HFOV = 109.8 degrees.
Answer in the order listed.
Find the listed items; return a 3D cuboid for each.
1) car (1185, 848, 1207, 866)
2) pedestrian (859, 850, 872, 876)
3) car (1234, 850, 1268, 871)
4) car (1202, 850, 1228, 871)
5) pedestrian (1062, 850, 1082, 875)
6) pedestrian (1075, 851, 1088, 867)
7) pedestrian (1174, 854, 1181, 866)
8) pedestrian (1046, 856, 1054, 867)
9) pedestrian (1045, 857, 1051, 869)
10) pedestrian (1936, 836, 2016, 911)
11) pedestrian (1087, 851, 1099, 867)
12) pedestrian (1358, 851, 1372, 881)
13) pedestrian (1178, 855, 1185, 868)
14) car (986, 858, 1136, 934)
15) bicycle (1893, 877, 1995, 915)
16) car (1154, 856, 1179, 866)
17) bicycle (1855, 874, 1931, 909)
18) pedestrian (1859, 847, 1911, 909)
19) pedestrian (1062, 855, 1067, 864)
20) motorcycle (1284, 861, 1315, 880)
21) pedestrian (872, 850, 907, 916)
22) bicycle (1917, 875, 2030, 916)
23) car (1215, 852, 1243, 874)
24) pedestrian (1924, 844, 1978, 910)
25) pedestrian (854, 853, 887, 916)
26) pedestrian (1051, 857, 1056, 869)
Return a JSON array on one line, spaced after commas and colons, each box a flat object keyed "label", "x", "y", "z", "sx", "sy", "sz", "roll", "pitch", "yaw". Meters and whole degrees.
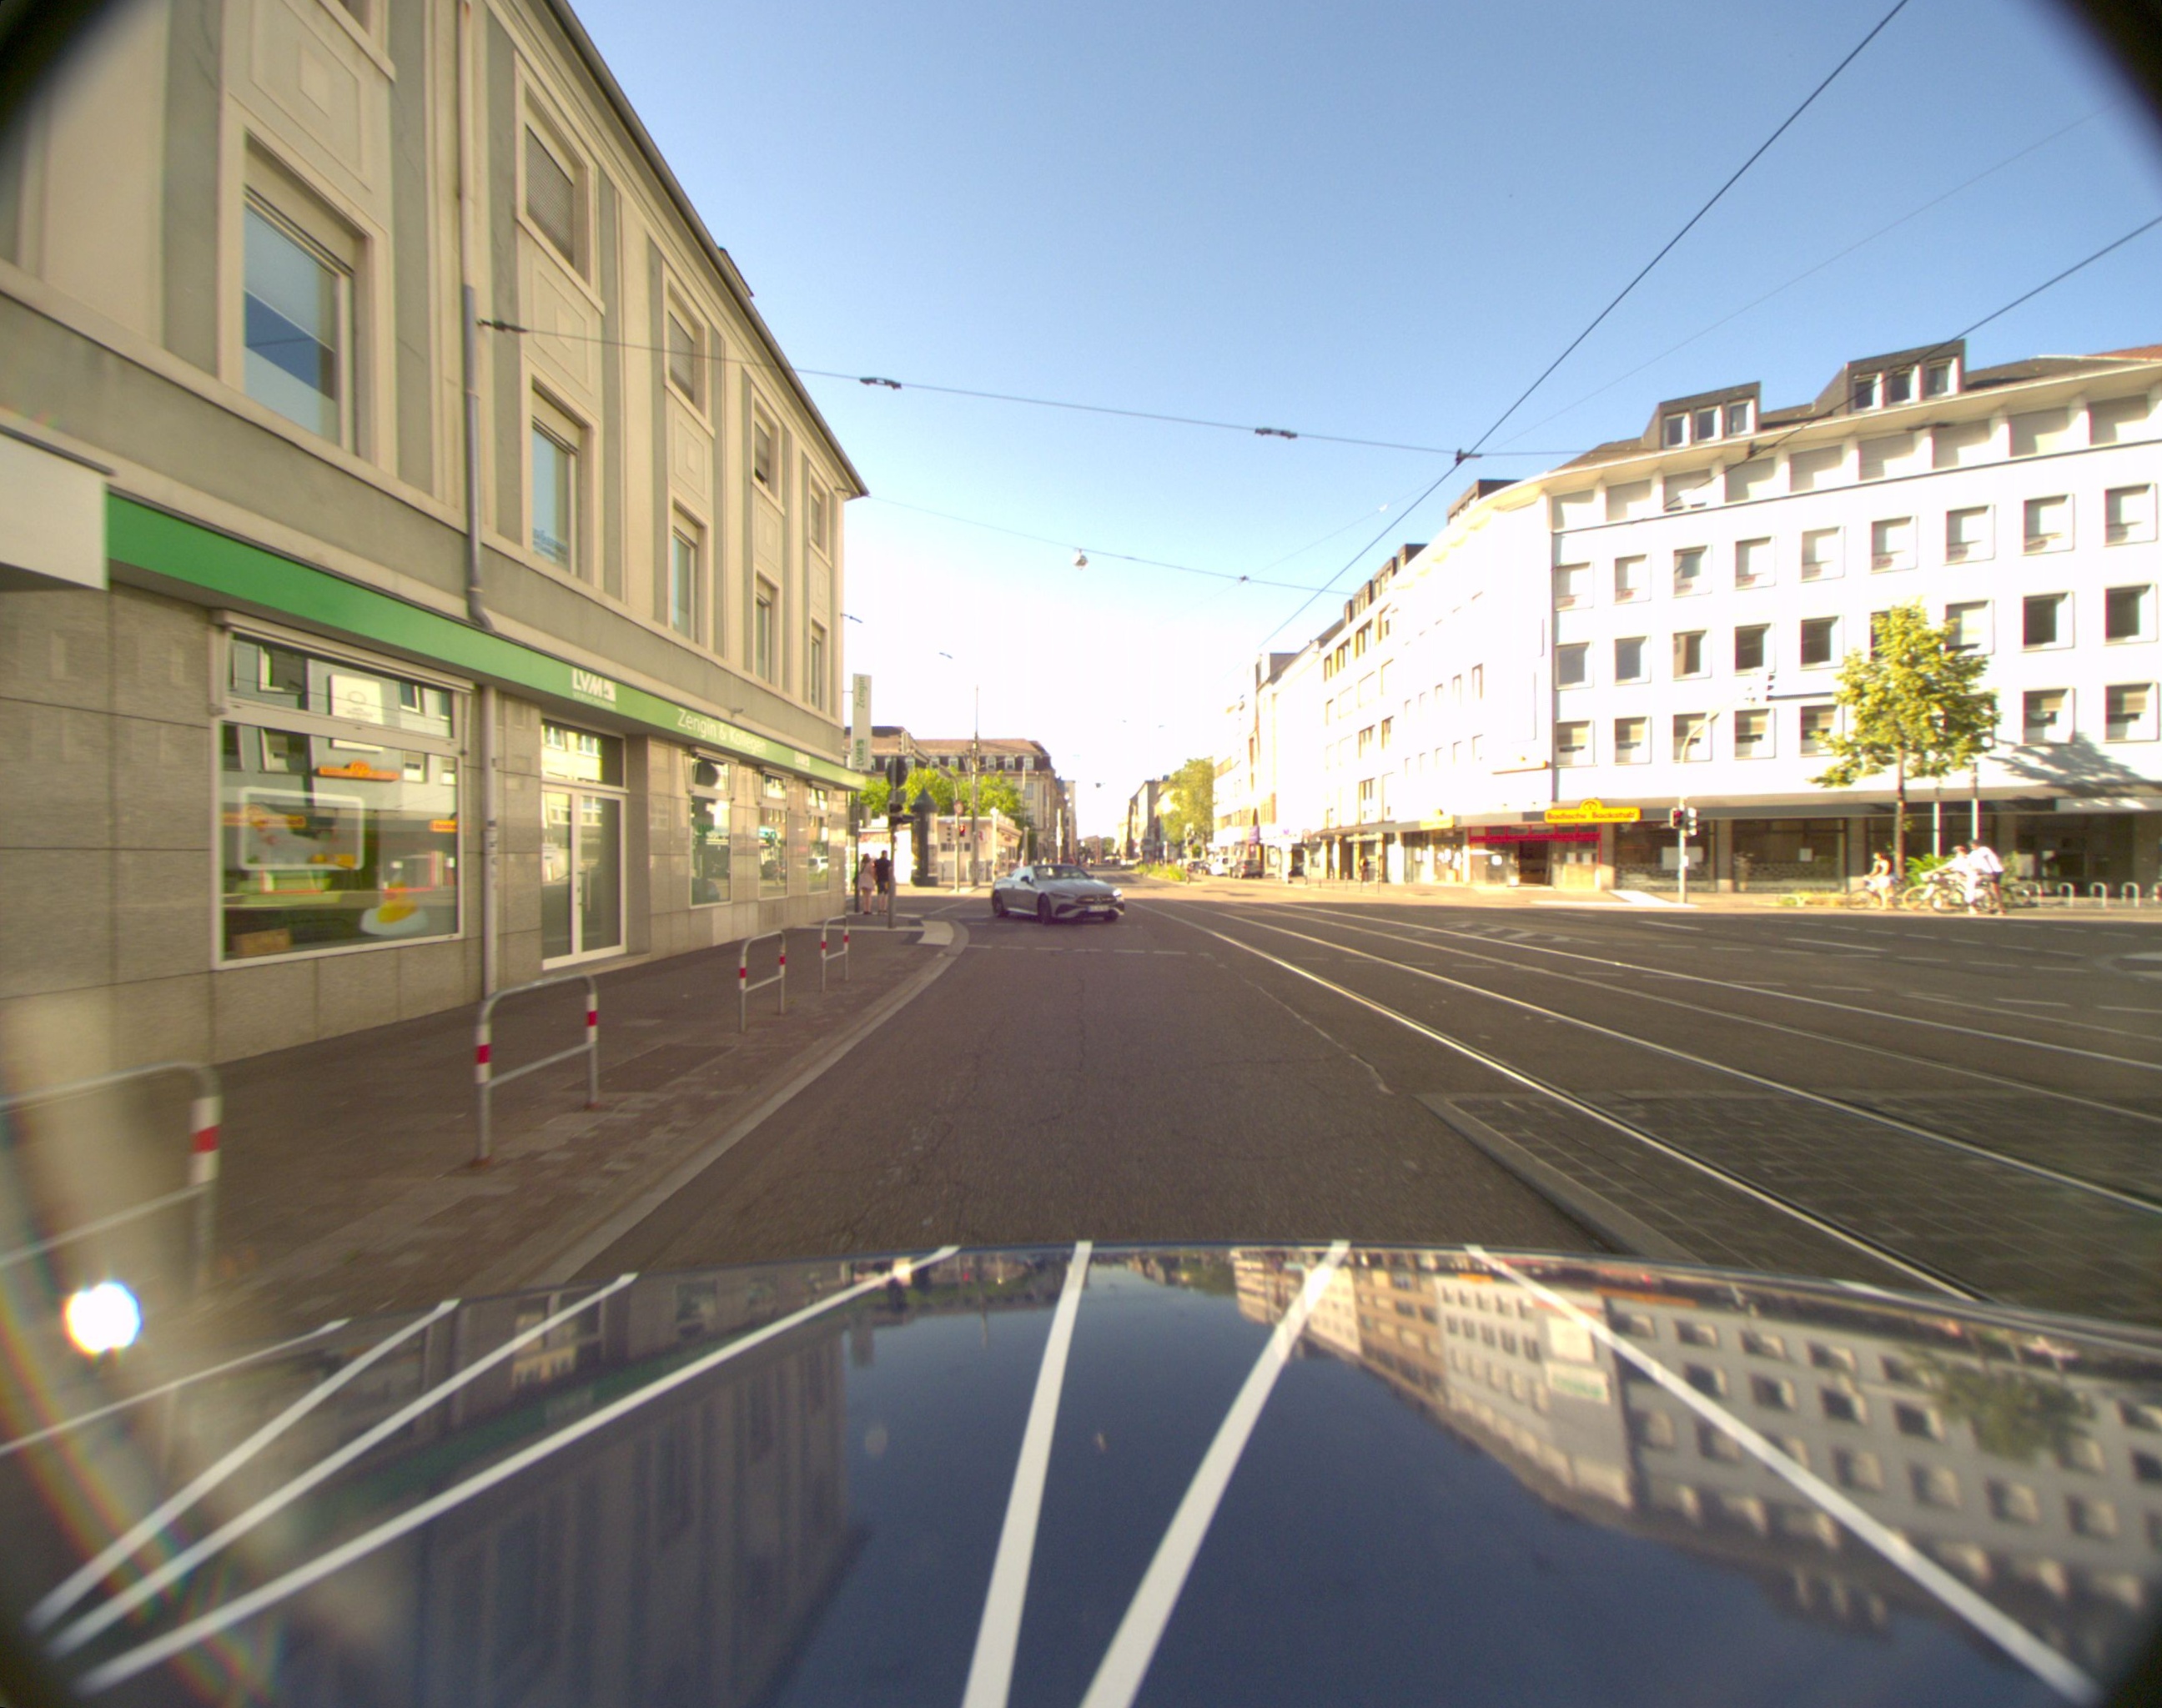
[{"label": "car", "x": 13.249, "y": 0.305, "z": 87.991, "sx": 1.998, "sy": 2.002, "sz": 4.000, "roll": -1, "pitch": 0, "yaw": 1}, {"label": "pedestrian", "x": -14.249, "y": 0.595, "z": 50.215, "sx": 0.610, "sy": 1.699, "sz": 0.521, "roll": 0, "pitch": 0, "yaw": 25}, {"label": "car", "x": 14.003, "y": 0.538, "z": 62.754, "sx": 1.998, "sy": 1.696, "sz": 4.000, "roll": -1, "pitch": 0, "yaw": 1}, {"label": "car", "x": 13.472, "y": 0.664, "z": 76.708, "sx": 1.998, "sy": 2.002, "sz": 4.000, "roll": -1, "pitch": 0, "yaw": 1}, {"label": "pedestrian", "x": -0.577, "y": 0.551, "z": 50.526, "sx": 0.947, "sy": 1.653, "sz": 0.915, "roll": 0, "pitch": 0, "yaw": -36}, {"label": "pedestrian", "x": 0.099, "y": 0.882, "z": 133.732, "sx": 1.946, "sy": 2.774, "sz": 1.382, "roll": 0, "pitch": 1, "yaw": 40}, {"label": "pedestrian", "x": 13.048, "y": 0.835, "z": 102.536, "sx": 0.578, "sy": 1.615, "sz": 0.708, "roll": 0, "pitch": 1, "yaw": 44}, {"label": "pedestrian", "x": -4.068, "y": 1.001, "z": 100.435, "sx": 0.946, "sy": 1.456, "sz": 0.780, "roll": 0, "pitch": 0, "yaw": 2}, {"label": "pedestrian", "x": -3.480, "y": 0.962, "z": 79.710, "sx": 0.622, "sy": 1.266, "sz": 0.780, "roll": 0, "pitch": 0, "yaw": -1}, {"label": "pedestrian", "x": 22.627, "y": 0.495, "z": 19.238, "sx": 1.000, "sy": 1.855, "sz": 0.781, "roll": -1, "pitch": -2, "yaw": 10}, {"label": "pedestrian", "x": 2.094, "y": 0.870, "z": 133.095, "sx": 1.834, "sy": 2.774, "sz": 1.296, "roll": 0, "pitch": 1, "yaw": 40}, {"label": "pedestrian", "x": 16.223, "y": 0.662, "z": 43.356, "sx": 0.710, "sy": 1.699, "sz": 0.561, "roll": 0, "pitch": 0, "yaw": 22}, {"label": "pedestrian", "x": 13.480, "y": 0.990, "z": 102.119, "sx": 0.578, "sy": 1.705, "sz": 0.708, "roll": 0, "pitch": 1, "yaw": 44}, {"label": "car", "x": -0.637, "y": 0.918, "z": 18.606, "sx": 1.914, "sy": 1.454, "sz": 4.353, "roll": -2, "pitch": 2, "yaw": -28}, {"label": "bicycle", "x": 22.737, "y": 1.089, "z": 20.049, "sx": 1.791, "sy": 0.962, "sz": 0.554, "roll": 0, "pitch": 0, "yaw": 13}, {"label": "car", "x": 14.251, "y": 1.168, "z": 126.352, "sx": 3.996, "sy": 1.787, "sz": 2.000, "roll": 0, "pitch": 0, "yaw": 1}, {"label": "bicycle", "x": 22.681, "y": 1.046, "z": 21.241, "sx": 1.453, "sy": 0.950, "sz": 0.482, "roll": 0, "pitch": 0, "yaw": 11}, {"label": "pedestrian", "x": 22.447, "y": 0.651, "z": 21.223, "sx": 0.653, "sy": 1.702, "sz": 0.793, "roll": -1, "pitch": 1, "yaw": 10}, {"label": "pedestrian", "x": -2.493, "y": 0.837, "z": 114.035, "sx": 0.691, "sy": 1.372, "sz": 0.780, "roll": 0, "pitch": 0, "yaw": 2}, {"label": "motorcycle", "x": 17.936, "y": 1.333, "z": 62.336, "sx": 2.254, "sy": 1.496, "sz": 1.000, "roll": 0, "pitch": 0, "yaw": -2}, {"label": "pedestrian", "x": -5.392, "y": 0.799, "z": 21.394, "sx": 0.680, "sy": 1.831, "sz": 0.643, "roll": 0, "pitch": 0, "yaw": 24}, {"label": "bicycle", "x": 22.591, "y": 1.036, "z": 19.270, "sx": 1.722, "sy": 1.001, "sz": 0.762, "roll": 0, "pitch": -2, "yaw": 13}, {"label": "car", "x": 13.779, "y": 0.798, "z": 71.042, "sx": 1.998, "sy": 2.002, "sz": 4.843, "roll": -1, "pitch": 0, "yaw": 4}, {"label": "pedestrian", "x": 22.928, "y": 0.591, "z": 20.028, "sx": 0.558, "sy": 1.718, "sz": 0.781, "roll": -1, "pitch": 1, "yaw": 10}, {"label": "pedestrian", "x": -5.920, "y": 0.844, "z": 21.414, "sx": 0.648, "sy": 1.749, "sz": 0.575, "roll": 0, "pitch": 1, "yaw": 24}, {"label": "pedestrian", "x": -2.885, "y": 0.935, "z": 80.372, "sx": 0.509, "sy": 1.266, "sz": 0.719, "roll": 0, "pitch": 0, "yaw": -4}]
